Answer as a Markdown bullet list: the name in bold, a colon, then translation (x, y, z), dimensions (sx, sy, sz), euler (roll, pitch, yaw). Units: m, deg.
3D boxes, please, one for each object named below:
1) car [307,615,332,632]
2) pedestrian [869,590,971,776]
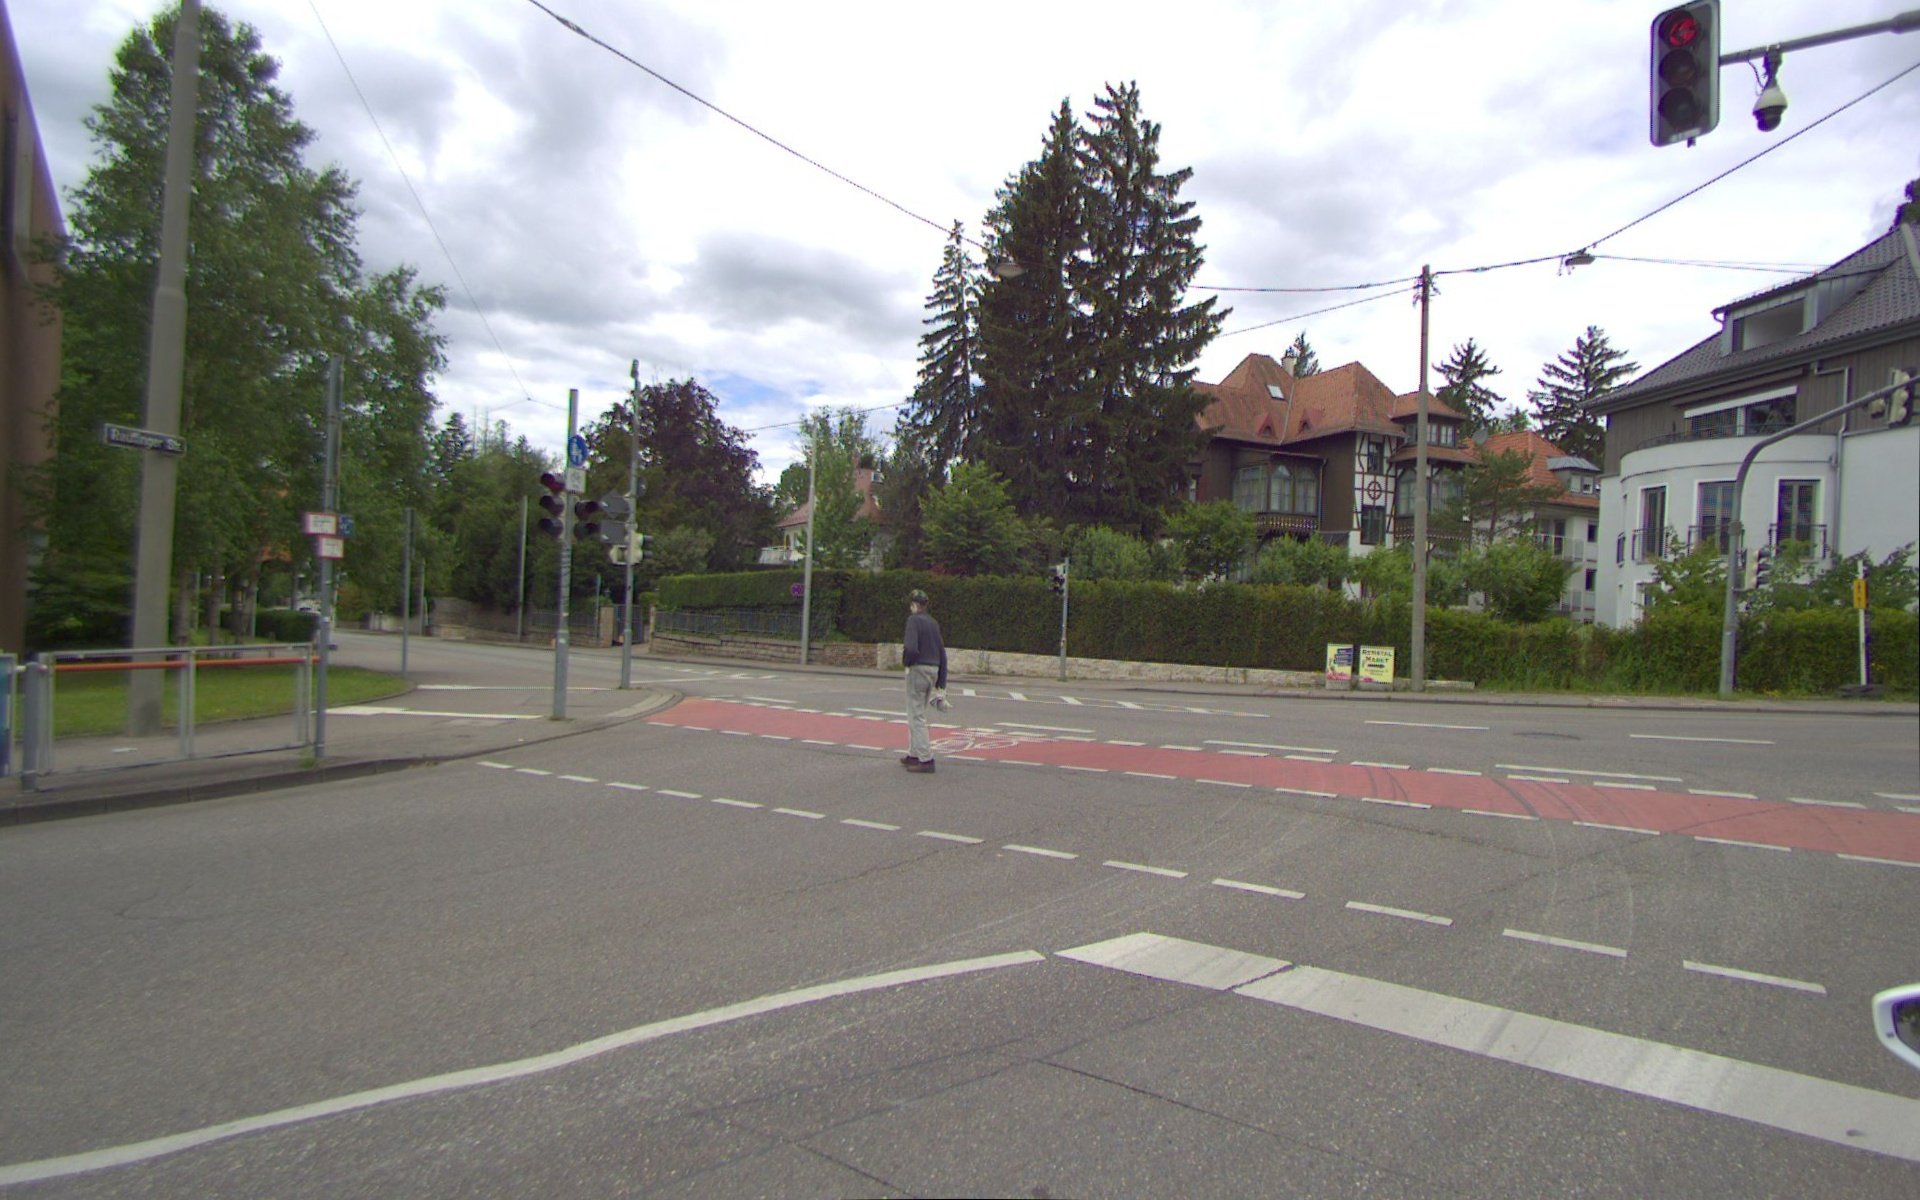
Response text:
- **car**: translation (-67.085, 2.427, 105.198), dimensions (1.798, 1.734, 3.990), euler (2, -2, -39)
- **pedestrian**: translation (-0.360, 0.747, 9.379), dimensions (0.726, 1.655, 0.683), euler (-1, -1, 22)
